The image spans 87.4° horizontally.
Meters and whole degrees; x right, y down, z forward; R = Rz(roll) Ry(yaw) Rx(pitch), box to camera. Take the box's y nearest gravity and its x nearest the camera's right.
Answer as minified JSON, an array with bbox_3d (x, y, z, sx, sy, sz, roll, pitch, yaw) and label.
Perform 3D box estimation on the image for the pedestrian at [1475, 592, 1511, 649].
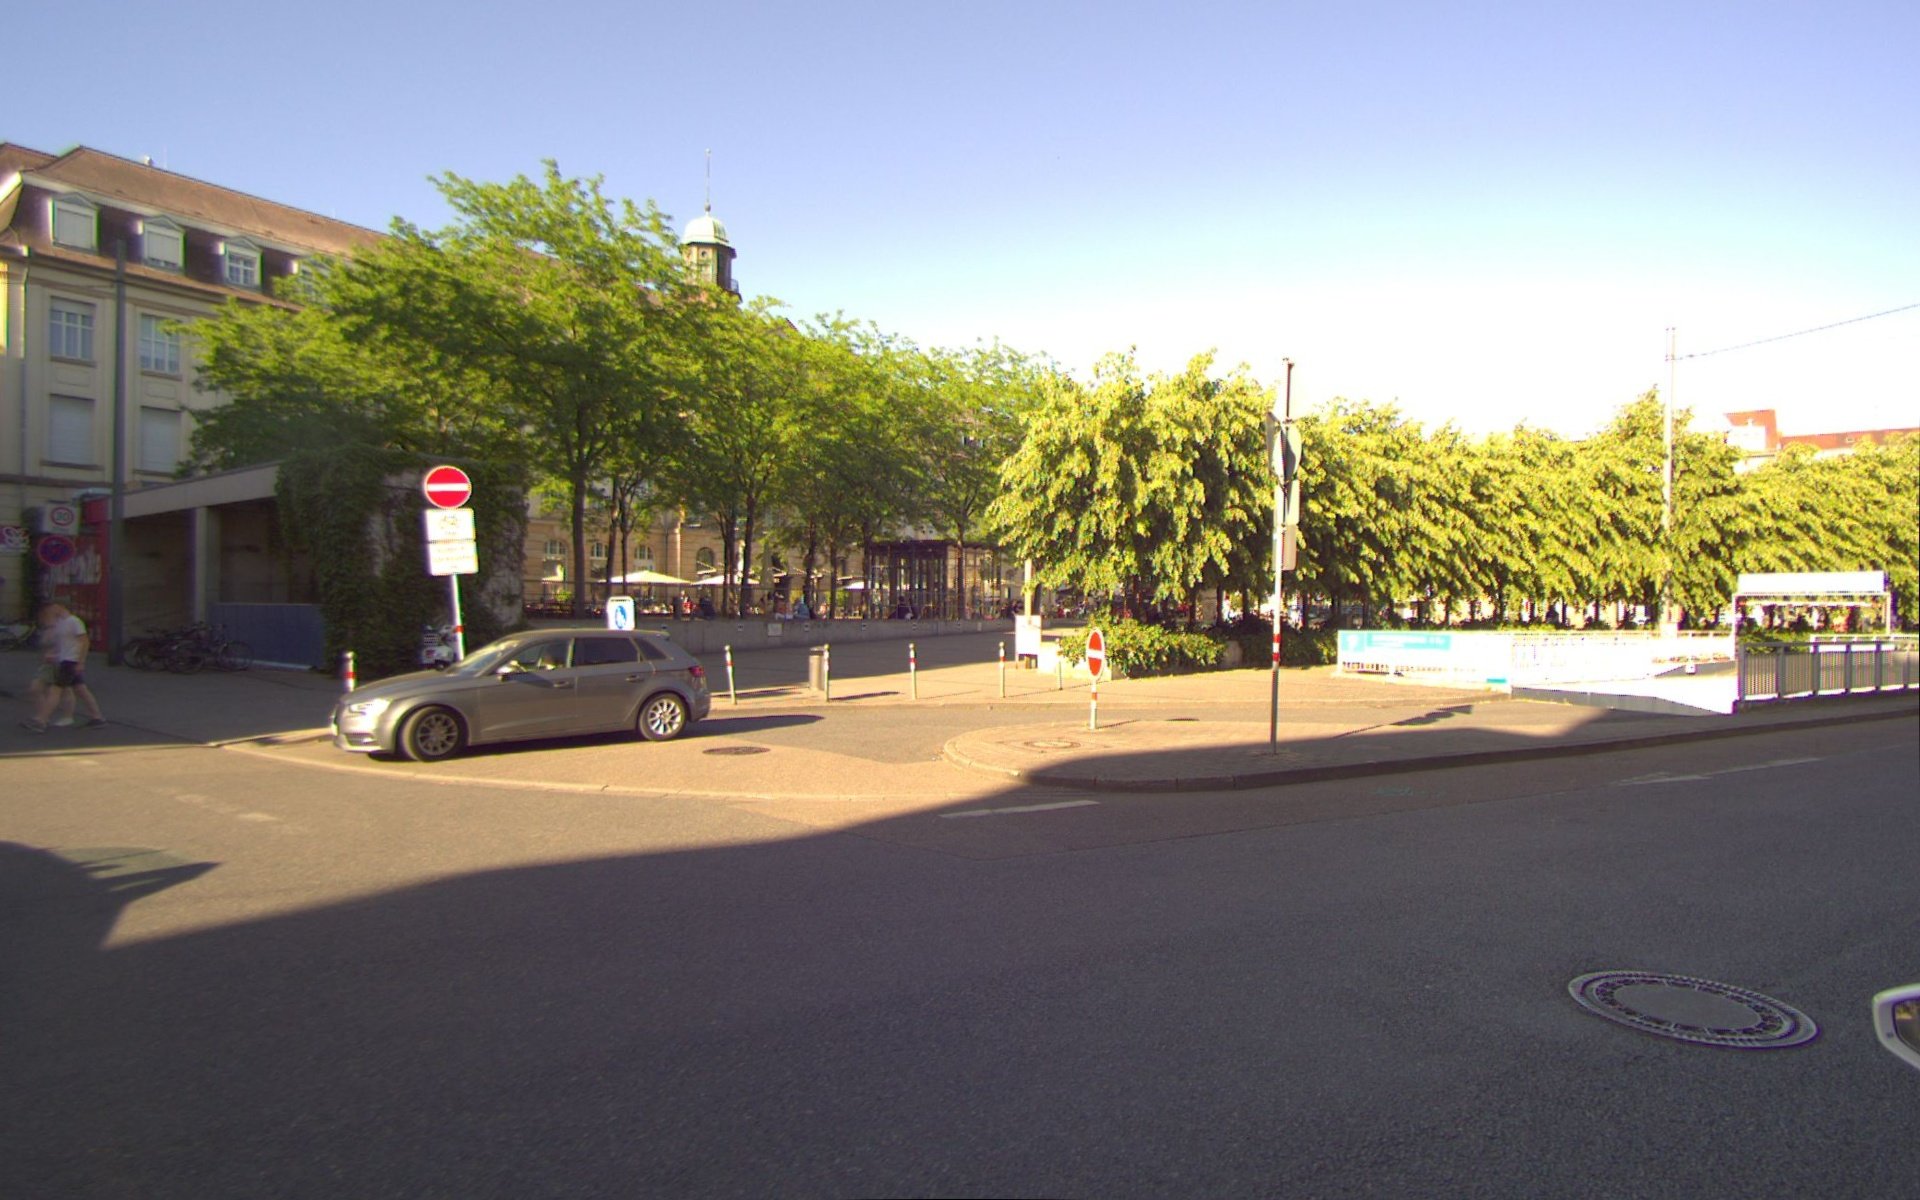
[{"bbox_3d":[20.452,0.783,38.541,0.949,2.136,0.734,1,0,-7],"label":"pedestrian"}]

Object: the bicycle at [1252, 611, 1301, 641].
[{"bbox_3d":[16.125,1.322,51.117,2.661,1.523,0.958,1,0,-35],"label":"bicycle"}]

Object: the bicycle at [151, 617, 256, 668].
[{"bbox_3d":[-18.016,0.996,23.969,0.497,1.146,1.961,0,-1,31],"label":"bicycle"}]

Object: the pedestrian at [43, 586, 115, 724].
[{"bbox_3d":[-12.164,0.742,13.869,0.576,1.852,0.558,0,-1,27],"label":"pedestrian"}]

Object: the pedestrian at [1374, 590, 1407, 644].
[{"bbox_3d":[17.257,0.686,40.285,0.949,2.136,0.734,1,0,-7],"label":"pedestrian"}]

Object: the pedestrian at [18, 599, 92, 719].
[{"bbox_3d":[-12.757,0.815,14.159,0.605,1.634,0.582,0,-1,27],"label":"pedestrian"}]

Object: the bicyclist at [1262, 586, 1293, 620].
[{"bbox_3d":[16.180,0.153,51.173,1.199,1.723,0.958,1,0,-35],"label":"bicyclist"}]

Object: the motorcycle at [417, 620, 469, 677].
[{"bbox_3d":[-11.436,1.048,22.262,0.497,1.224,1.692,0,-1,-8],"label":"motorcycle"}]

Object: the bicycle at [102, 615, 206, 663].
[{"bbox_3d":[-20.185,0.963,25.203,0.497,1.146,1.961,0,-1,31],"label":"bicycle"}]

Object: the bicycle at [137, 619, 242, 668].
[{"bbox_3d":[-18.589,1.034,24.289,0.497,1.146,1.961,0,-1,31],"label":"bicycle"}]

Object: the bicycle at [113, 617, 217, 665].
[{"bbox_3d":[-19.662,0.990,24.879,0.497,1.146,1.961,0,-1,31],"label":"bicycle"}]

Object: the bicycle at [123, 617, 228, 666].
[{"bbox_3d":[-19.140,0.997,24.561,0.497,1.146,1.961,0,-1,31],"label":"bicycle"}]

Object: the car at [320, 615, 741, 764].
[{"bbox_3d":[-5.151,0.952,12.383,4.496,1.442,1.735,-1,0,-37],"label":"car"}]

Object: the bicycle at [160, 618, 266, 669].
[{"bbox_3d":[-17.567,1.005,23.681,0.497,1.146,1.961,0,-1,31],"label":"bicycle"}]

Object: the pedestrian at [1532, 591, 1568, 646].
[{"bbox_3d":[23.226,0.731,39.519,0.949,2.136,0.734,1,0,-7],"label":"pedestrian"}]
